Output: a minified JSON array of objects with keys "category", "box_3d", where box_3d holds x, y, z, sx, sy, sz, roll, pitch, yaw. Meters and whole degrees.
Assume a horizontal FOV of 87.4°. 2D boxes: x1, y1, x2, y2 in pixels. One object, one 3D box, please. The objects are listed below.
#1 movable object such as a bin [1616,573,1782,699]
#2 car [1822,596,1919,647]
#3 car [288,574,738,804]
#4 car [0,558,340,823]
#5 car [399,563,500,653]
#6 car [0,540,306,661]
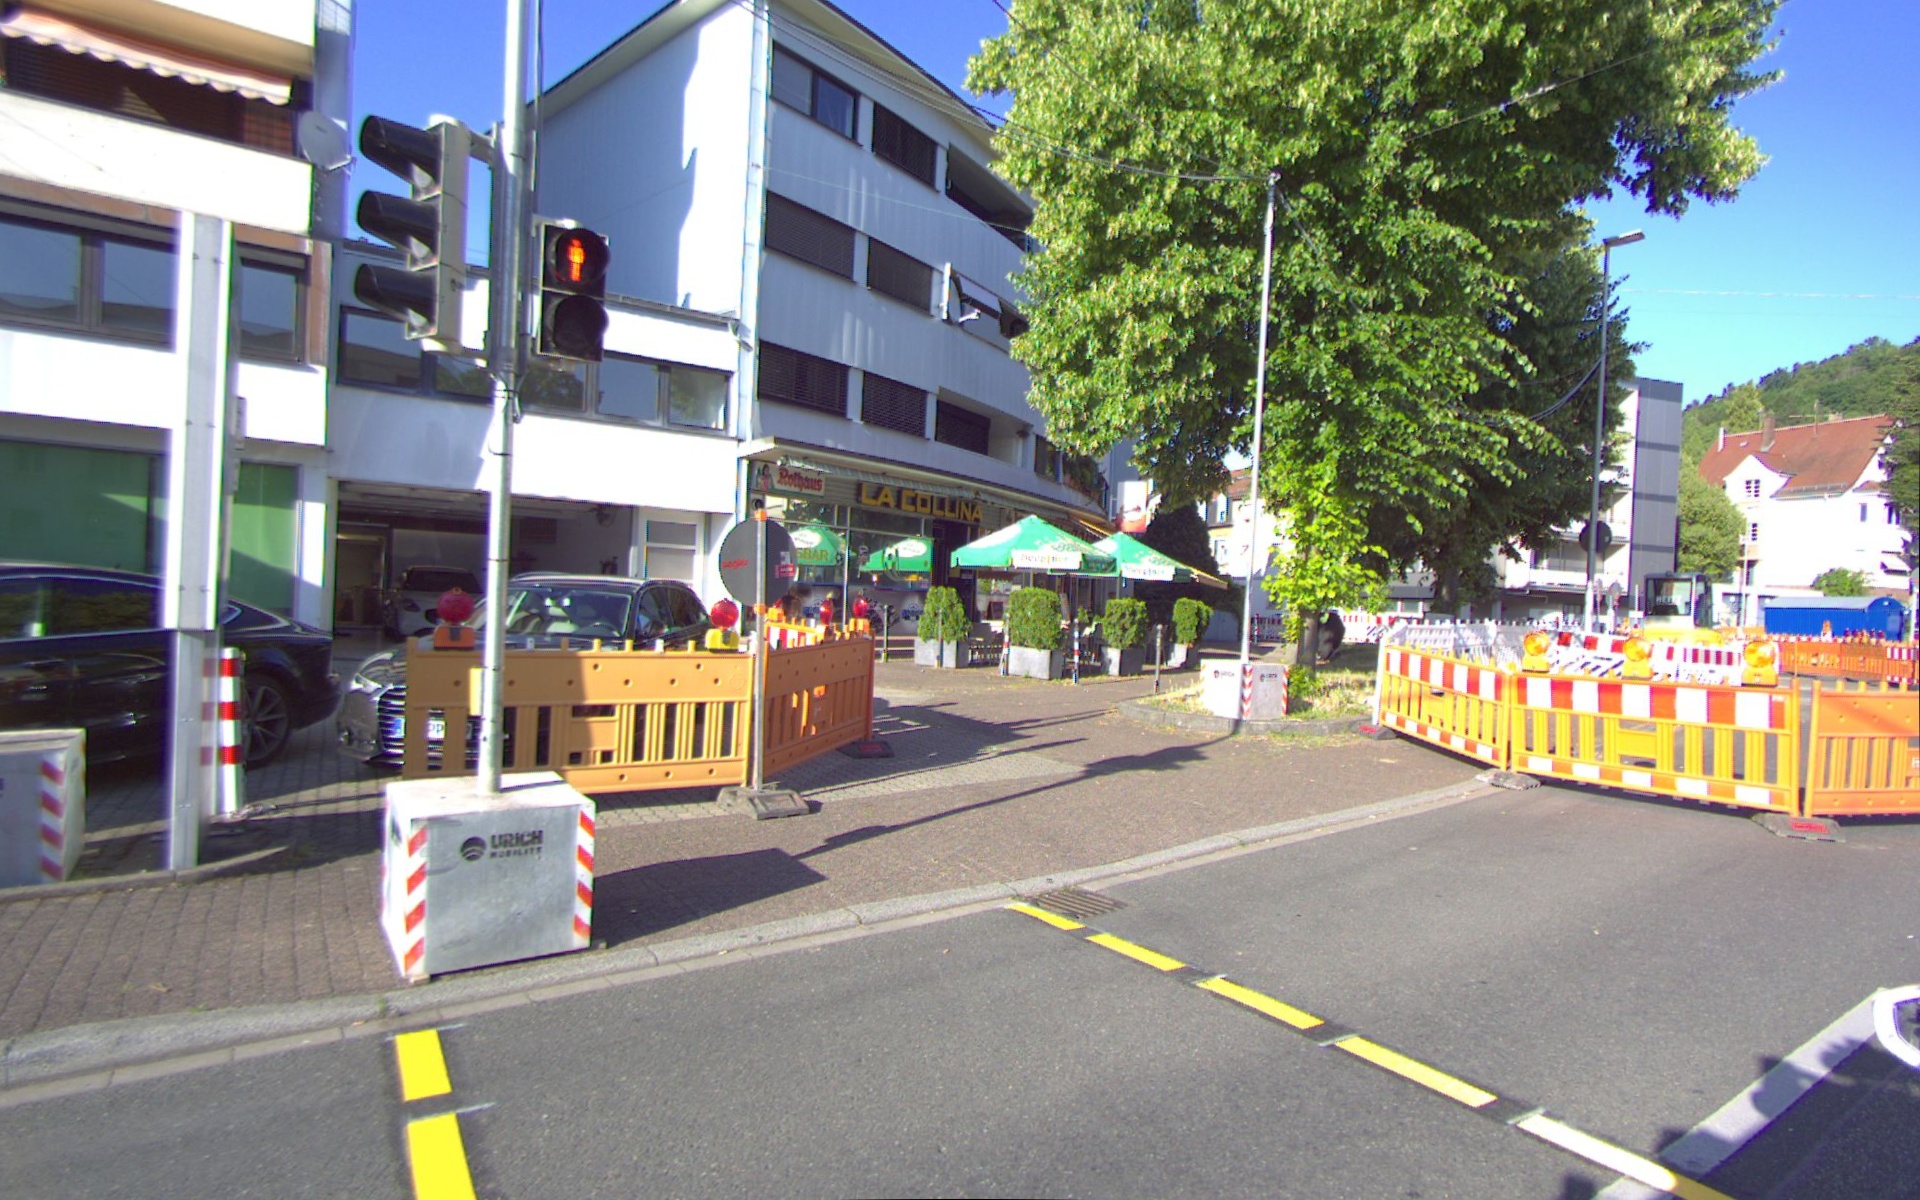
[{"category":"movable object such as a bin","box_3d":[15.174,0.699,20.565,3.884,2.355,1.635,2,0,-37]},{"category":"car","box_3d":[42.729,1.023,45.406,6.045,2.149,2.585,2,0,-13]},{"category":"car","box_3d":[-3.401,0.604,8.543,1.564,1.457,3.887,1,-1,10]},{"category":"car","box_3d":[-6.198,0.480,5.693,1.893,1.457,4.692,1,-1,10]},{"category":"car","box_3d":[-10.292,0.120,20.439,1.550,1.629,3.733,2,1,-24]},{"category":"car","box_3d":[-12.426,0.056,15.734,3.594,1.695,1.707,2,0,-34]}]
